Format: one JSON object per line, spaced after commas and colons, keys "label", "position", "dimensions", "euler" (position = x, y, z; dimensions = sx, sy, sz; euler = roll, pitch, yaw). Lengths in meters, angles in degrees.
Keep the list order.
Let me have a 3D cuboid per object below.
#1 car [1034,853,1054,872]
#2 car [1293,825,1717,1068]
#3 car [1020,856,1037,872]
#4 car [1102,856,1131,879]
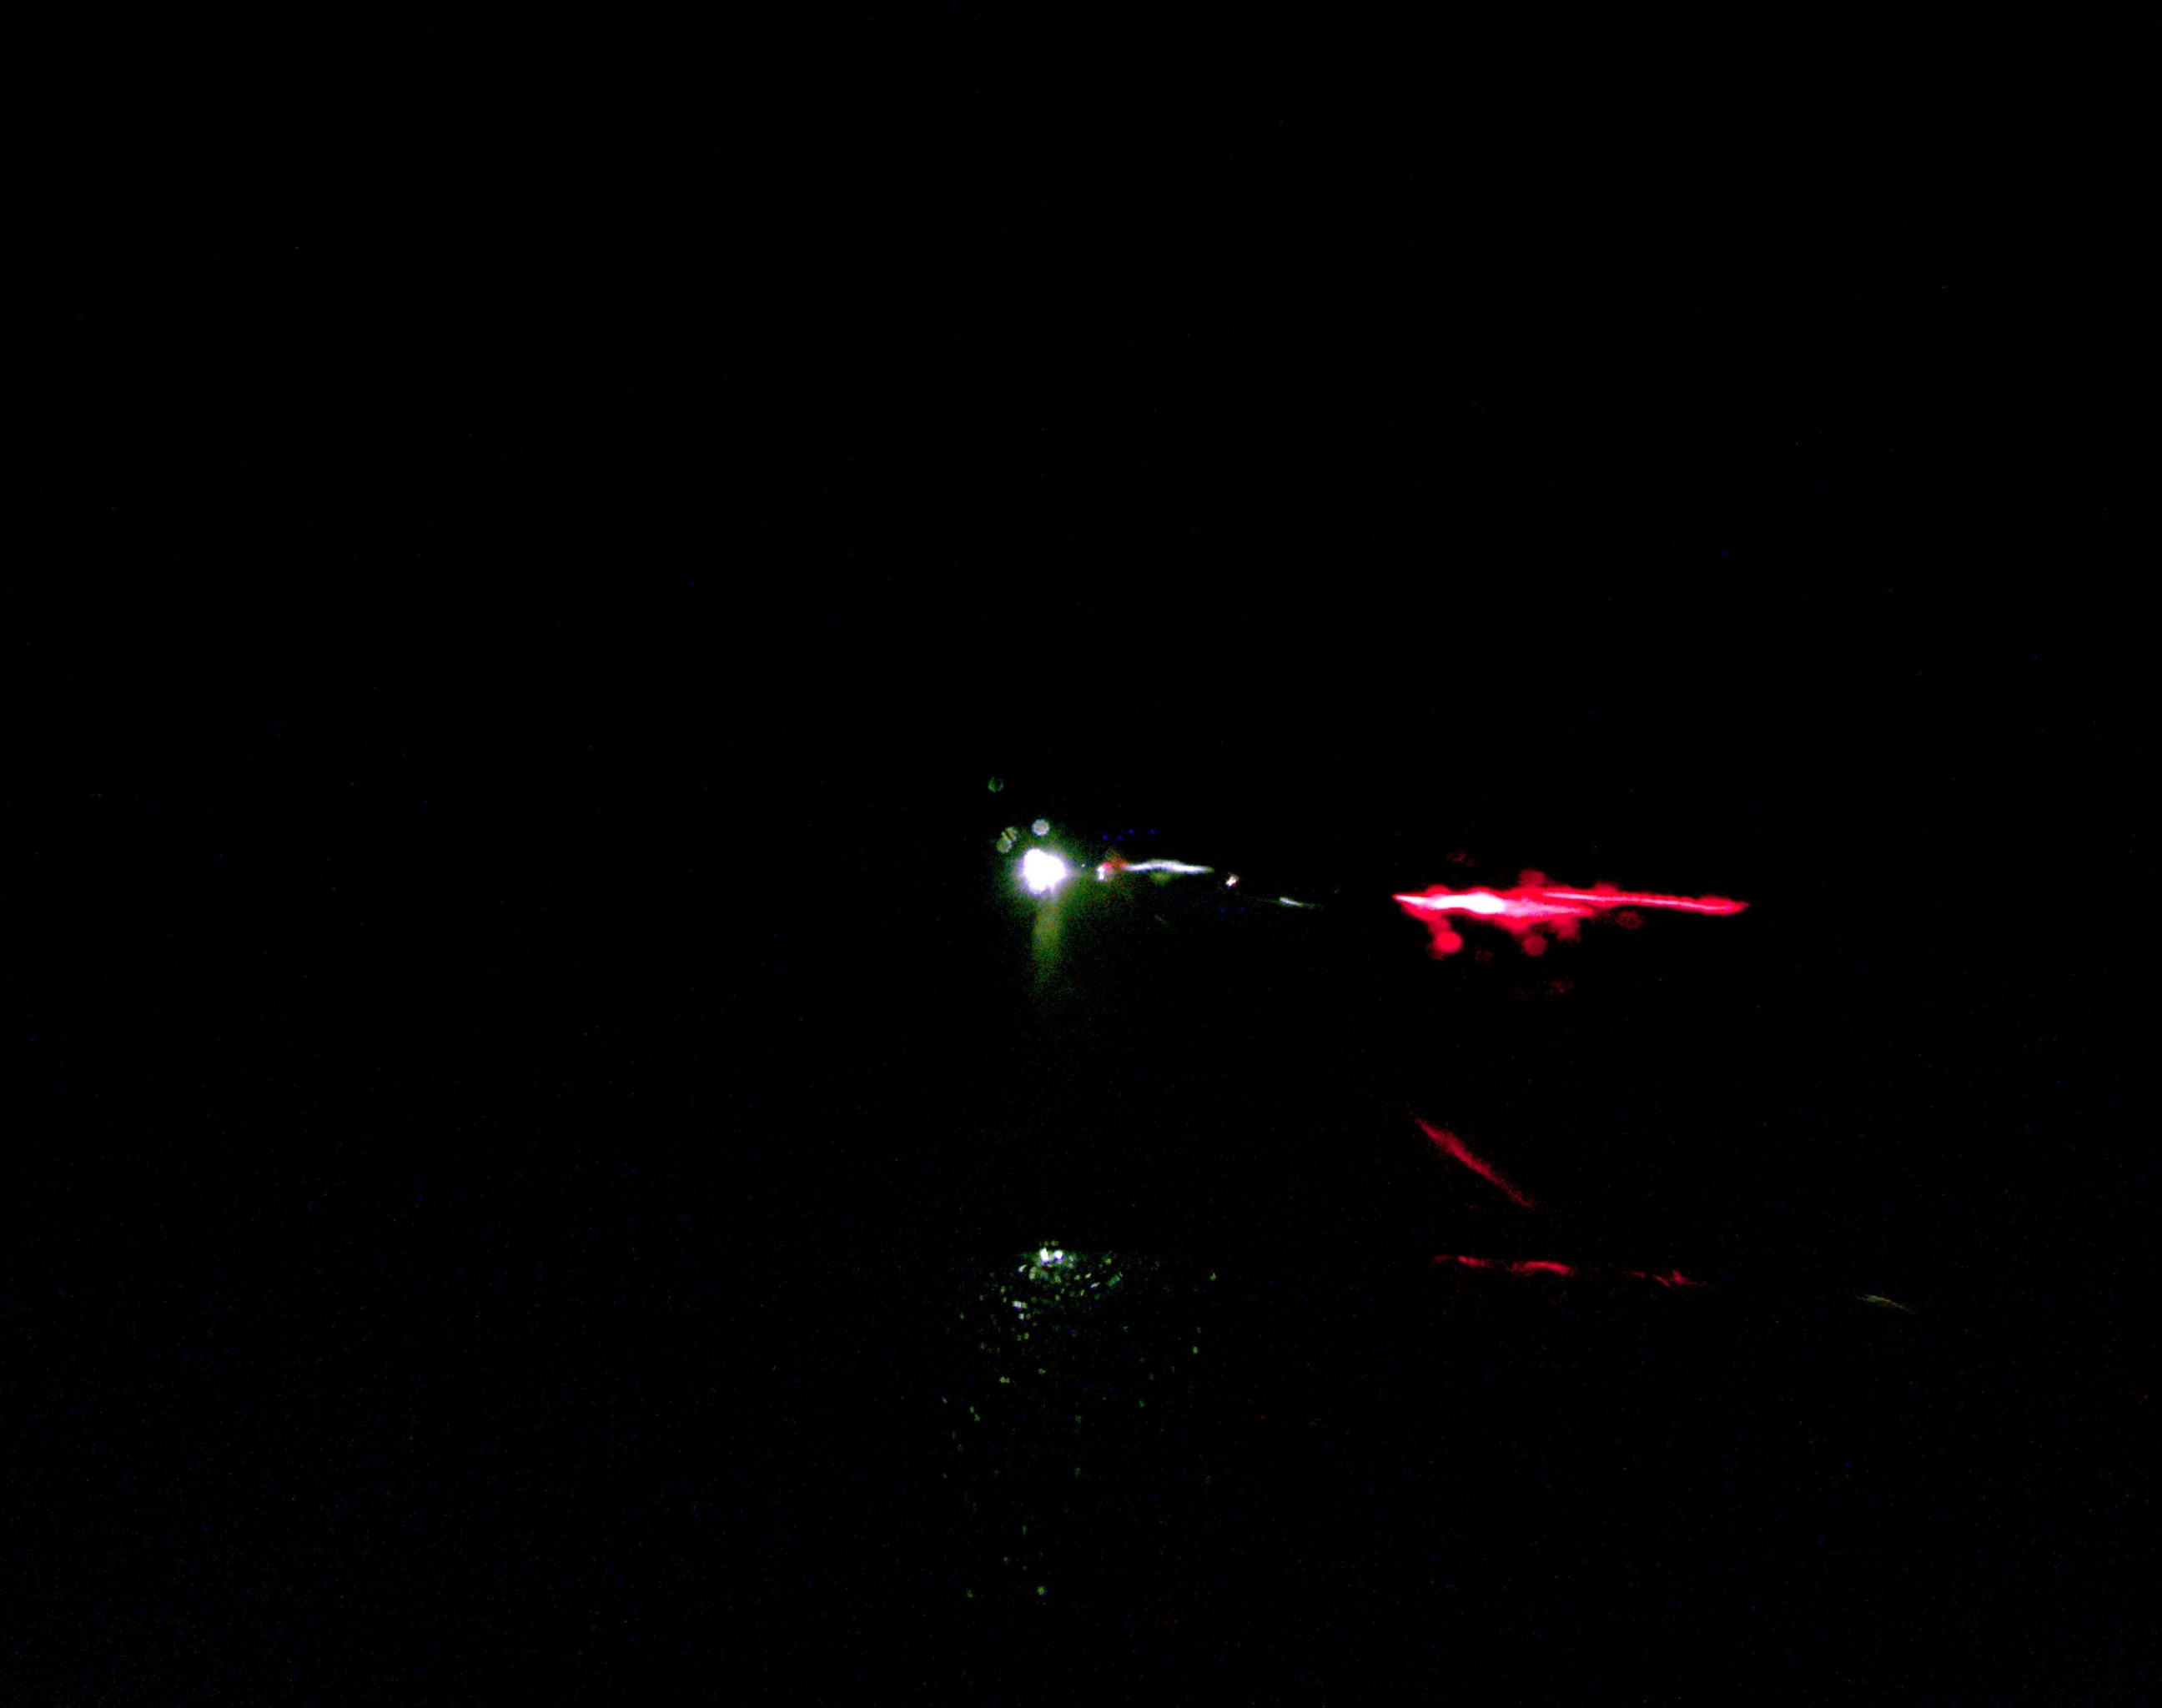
{"label": "car", "position": [-4.502, 1.021, 92.100], "dimensions": [1.999, 2.002, 3.996], "euler": [-4, 2, -6]}
{"label": "car", "position": [3.663, 0.660, 7.683], "dimensions": [1.785, 1.657, 4.472], "euler": [-3, 0, 1]}
{"label": "car", "position": [-7.347, 1.405, 106.141], "dimensions": [2.203, 2.001, 4.206], "euler": [-4, -1, -5]}
{"label": "car", "position": [2.349, 0.873, 51.374], "dimensions": [1.744, 1.394, 3.861], "euler": [-3, 0, 1]}
